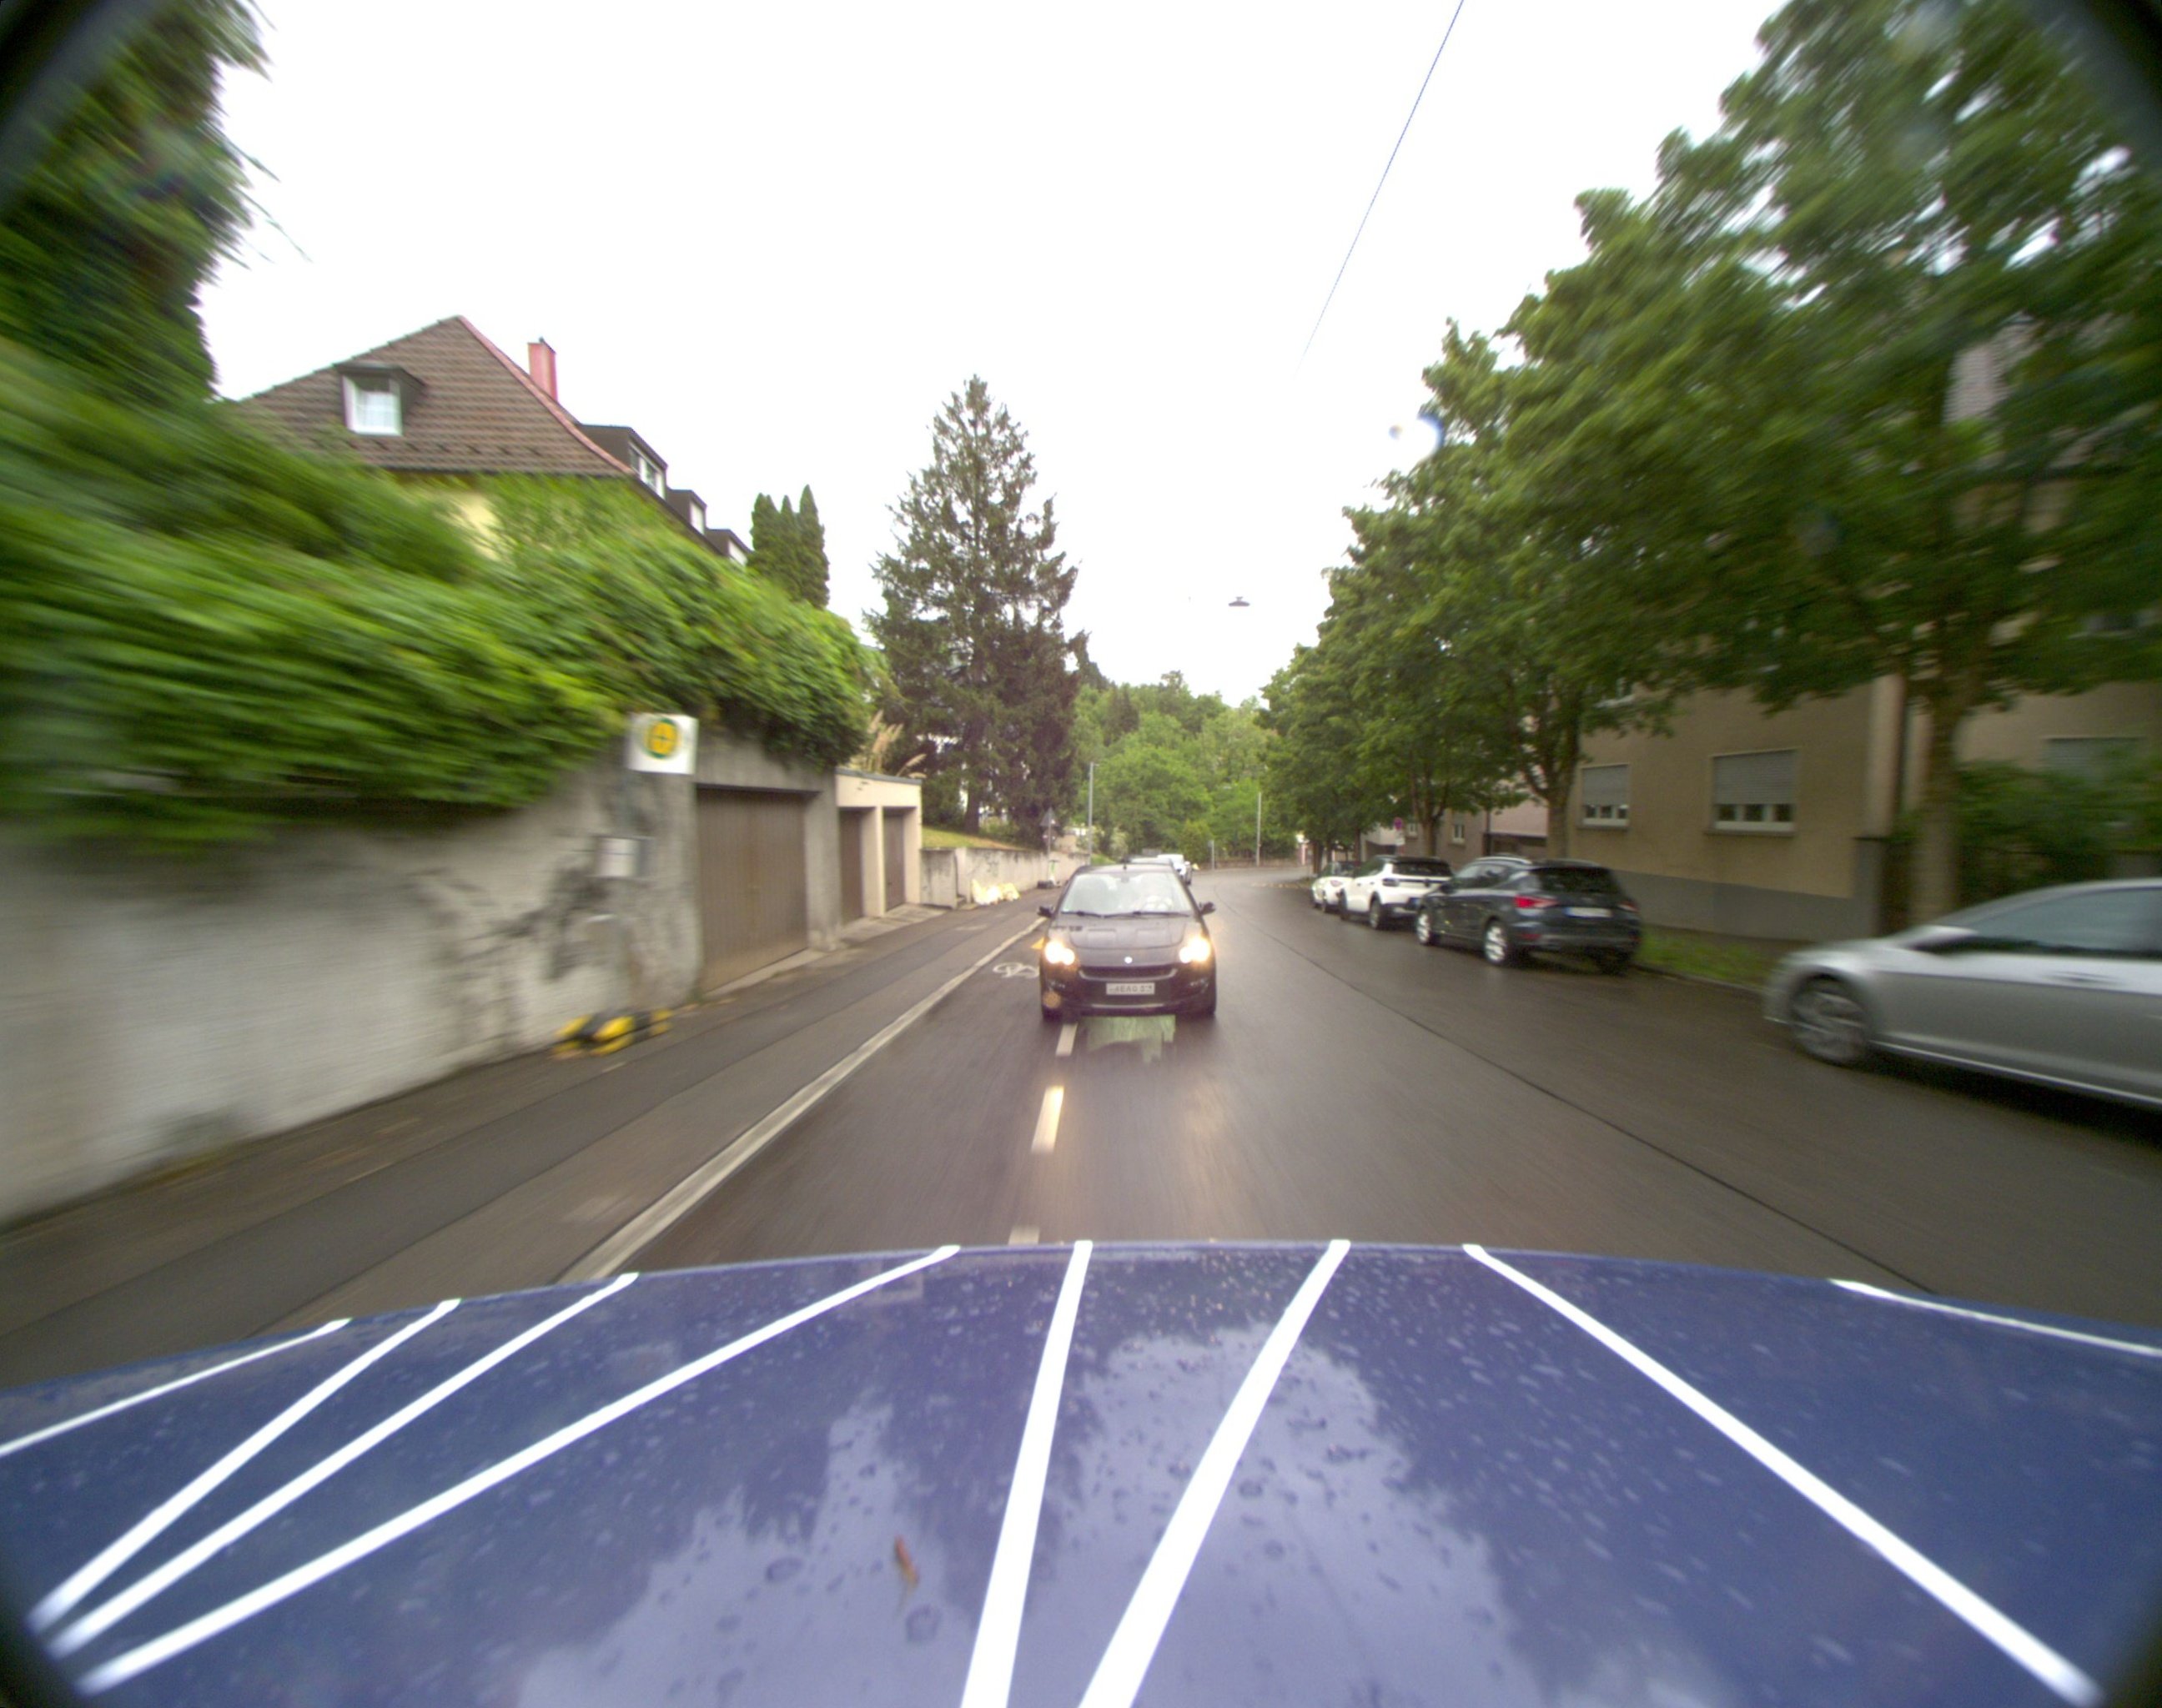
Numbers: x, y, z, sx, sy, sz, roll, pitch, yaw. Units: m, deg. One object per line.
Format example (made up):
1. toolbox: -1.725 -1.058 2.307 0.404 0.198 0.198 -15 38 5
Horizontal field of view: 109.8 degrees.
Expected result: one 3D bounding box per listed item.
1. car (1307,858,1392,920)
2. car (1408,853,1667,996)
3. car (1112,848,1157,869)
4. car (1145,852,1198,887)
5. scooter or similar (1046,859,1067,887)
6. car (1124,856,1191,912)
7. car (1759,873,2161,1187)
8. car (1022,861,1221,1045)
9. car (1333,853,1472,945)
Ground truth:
1. car: 7.652 0.935 21.955 1.620 1.463 3.671 5 1 10
2. car: 6.610 0.885 11.576 1.621 1.649 3.924 4 1 3
3. car: 4.565 0.365 64.448 3.462 1.623 1.581 3 2 15
4. car: 4.796 0.762 39.620 2.010 1.652 4.451 1 0 16
5. scooter or similar: -1.025 0.765 31.912 0.599 1.126 1.371 1 1 10
6. car: 2.239 0.817 22.868 1.807 1.480 4.018 1 0 4
7. car: 6.218 0.957 4.056 1.622 1.462 3.972 3 1 1
8. car: 0.490 0.869 8.187 1.577 1.443 3.589 -4 -1 5
9. car: 7.050 0.886 17.104 1.596 1.649 3.924 5 1 4
